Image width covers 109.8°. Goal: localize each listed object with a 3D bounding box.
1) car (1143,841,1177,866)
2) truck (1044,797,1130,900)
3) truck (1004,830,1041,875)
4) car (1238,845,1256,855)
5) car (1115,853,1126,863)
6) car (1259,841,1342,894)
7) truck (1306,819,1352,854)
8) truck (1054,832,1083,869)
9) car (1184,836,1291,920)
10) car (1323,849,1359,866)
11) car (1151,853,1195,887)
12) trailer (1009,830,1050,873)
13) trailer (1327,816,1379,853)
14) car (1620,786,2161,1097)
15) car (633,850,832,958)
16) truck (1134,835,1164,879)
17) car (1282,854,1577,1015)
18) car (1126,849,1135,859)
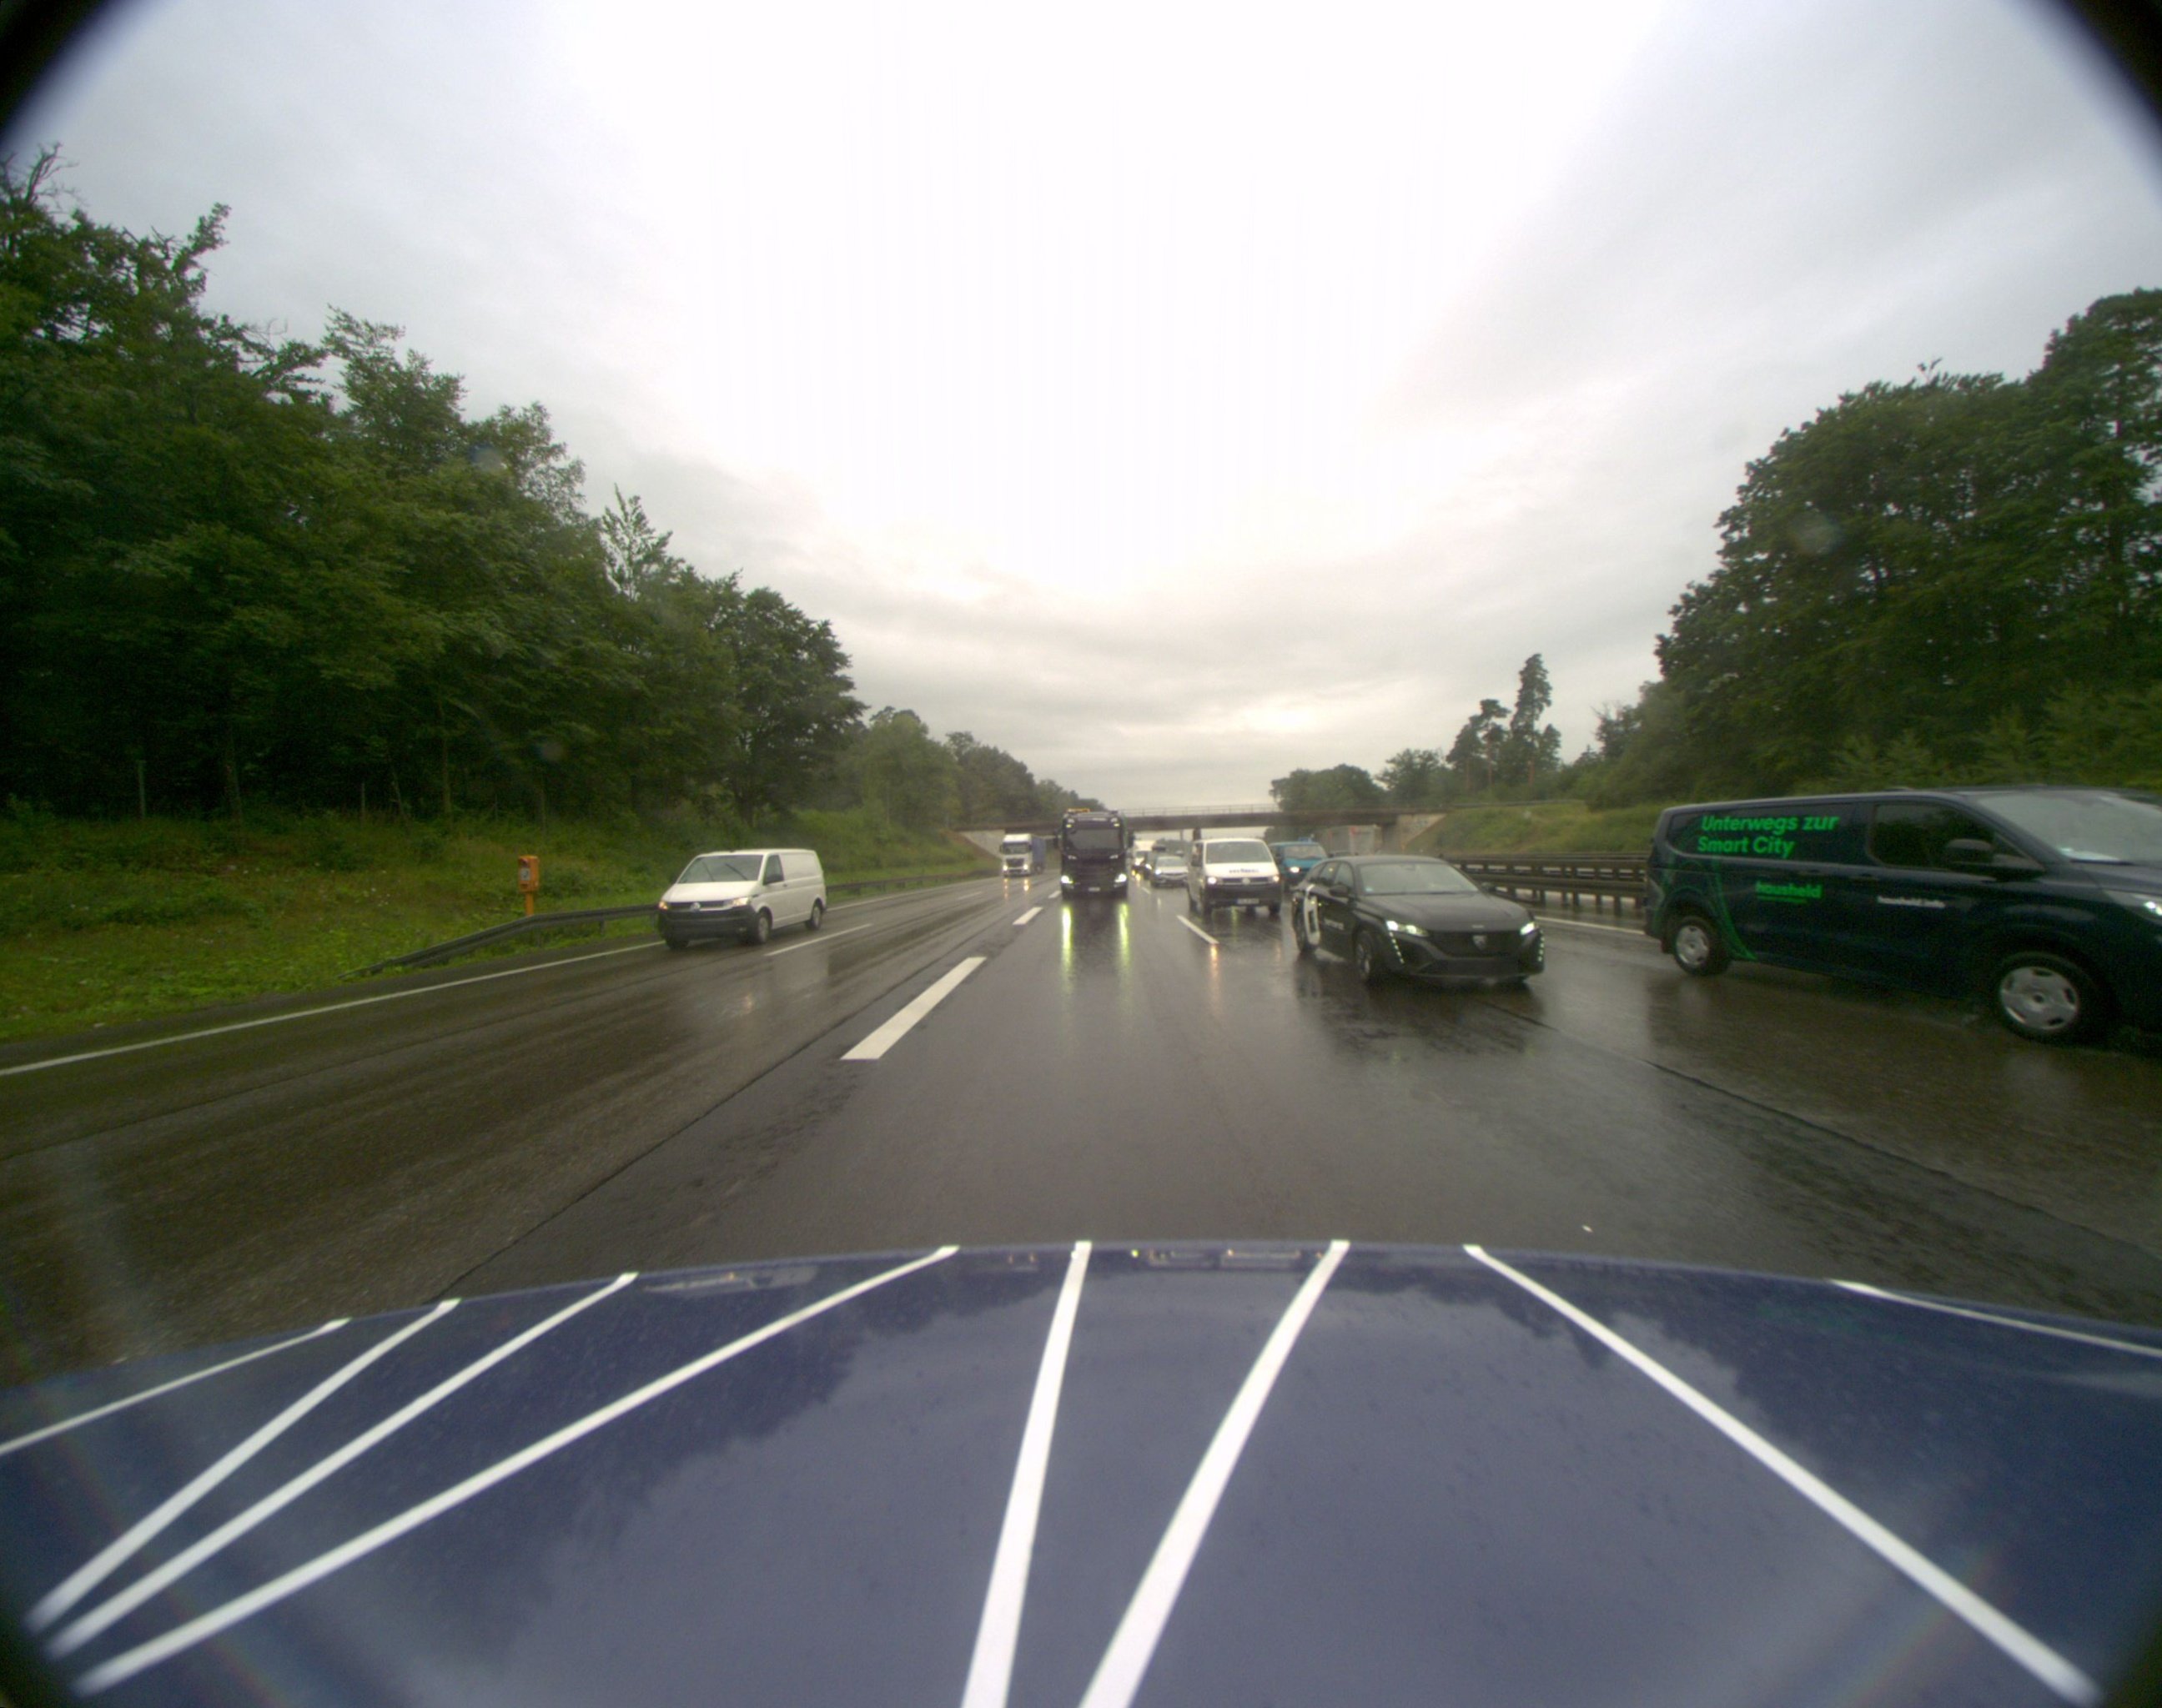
[{"bbox_3d":[5.377,-0.044,52.346,1.994,1.551,4.768,-2,0,3],"label":"car"},{"bbox_3d":[0.540,-0.263,32.199,2.879,3.528,10.912,-2,1,3],"label":"truck"},{"bbox_3d":[-5.500,-0.180,72.630,2.607,3.990,6.013,-3,1,3],"label":"truck"},{"bbox_3d":[25.156,-0.604,115.264,1.840,1.489,4.332,-2,0,3],"label":"car"},{"bbox_3d":[7.816,0.756,151.269,1.998,2.002,4.000,-2,0,1],"label":"car"},{"bbox_3d":[8.480,0.463,29.792,1.915,1.852,4.759,-2,0,1],"label":"car"},{"bbox_3d":[29.787,-2.001,91.632,2.710,3.909,10.029,-2,0,4],"label":"truck"},{"bbox_3d":[-1.336,-0.408,84.072,2.607,3.934,5.601,-2,1,5],"label":"truck"},{"bbox_3d":[3.917,0.559,19.884,1.994,1.869,4.768,-2,0,3],"label":"car"},{"bbox_3d":[21.586,0.301,63.239,1.705,1.297,3.756,-2,0,1],"label":"car"},{"bbox_3d":[4.532,0.759,37.922,1.850,1.496,4.467,-2,0,3],"label":"car"},{"bbox_3d":[-5.156,-0.335,79.020,2.559,3.990,13.716,-2,0,3],"label":"trailer"},{"bbox_3d":[29.315,-2.007,82.243,2.689,3.795,9.007,-2,0,2],"label":"trailer"},{"bbox_3d":[7.727,0.494,6.880,1.996,1.932,5.242,-2,0,1],"label":"car"},{"bbox_3d":[-7.217,0.927,16.404,1.995,1.909,4.767,-2,0,0],"label":"car"},{"bbox_3d":[6.497,0.255,73.470,2.520,3.941,6.995,-2,0,3],"label":"truck"},{"bbox_3d":[3.978,0.790,9.635,1.850,1.496,4.467,-2,0,3],"label":"car"},{"bbox_3d":[11.735,-0.063,181.323,1.864,1.557,4.426,-2,12,1],"label":"car"}]
